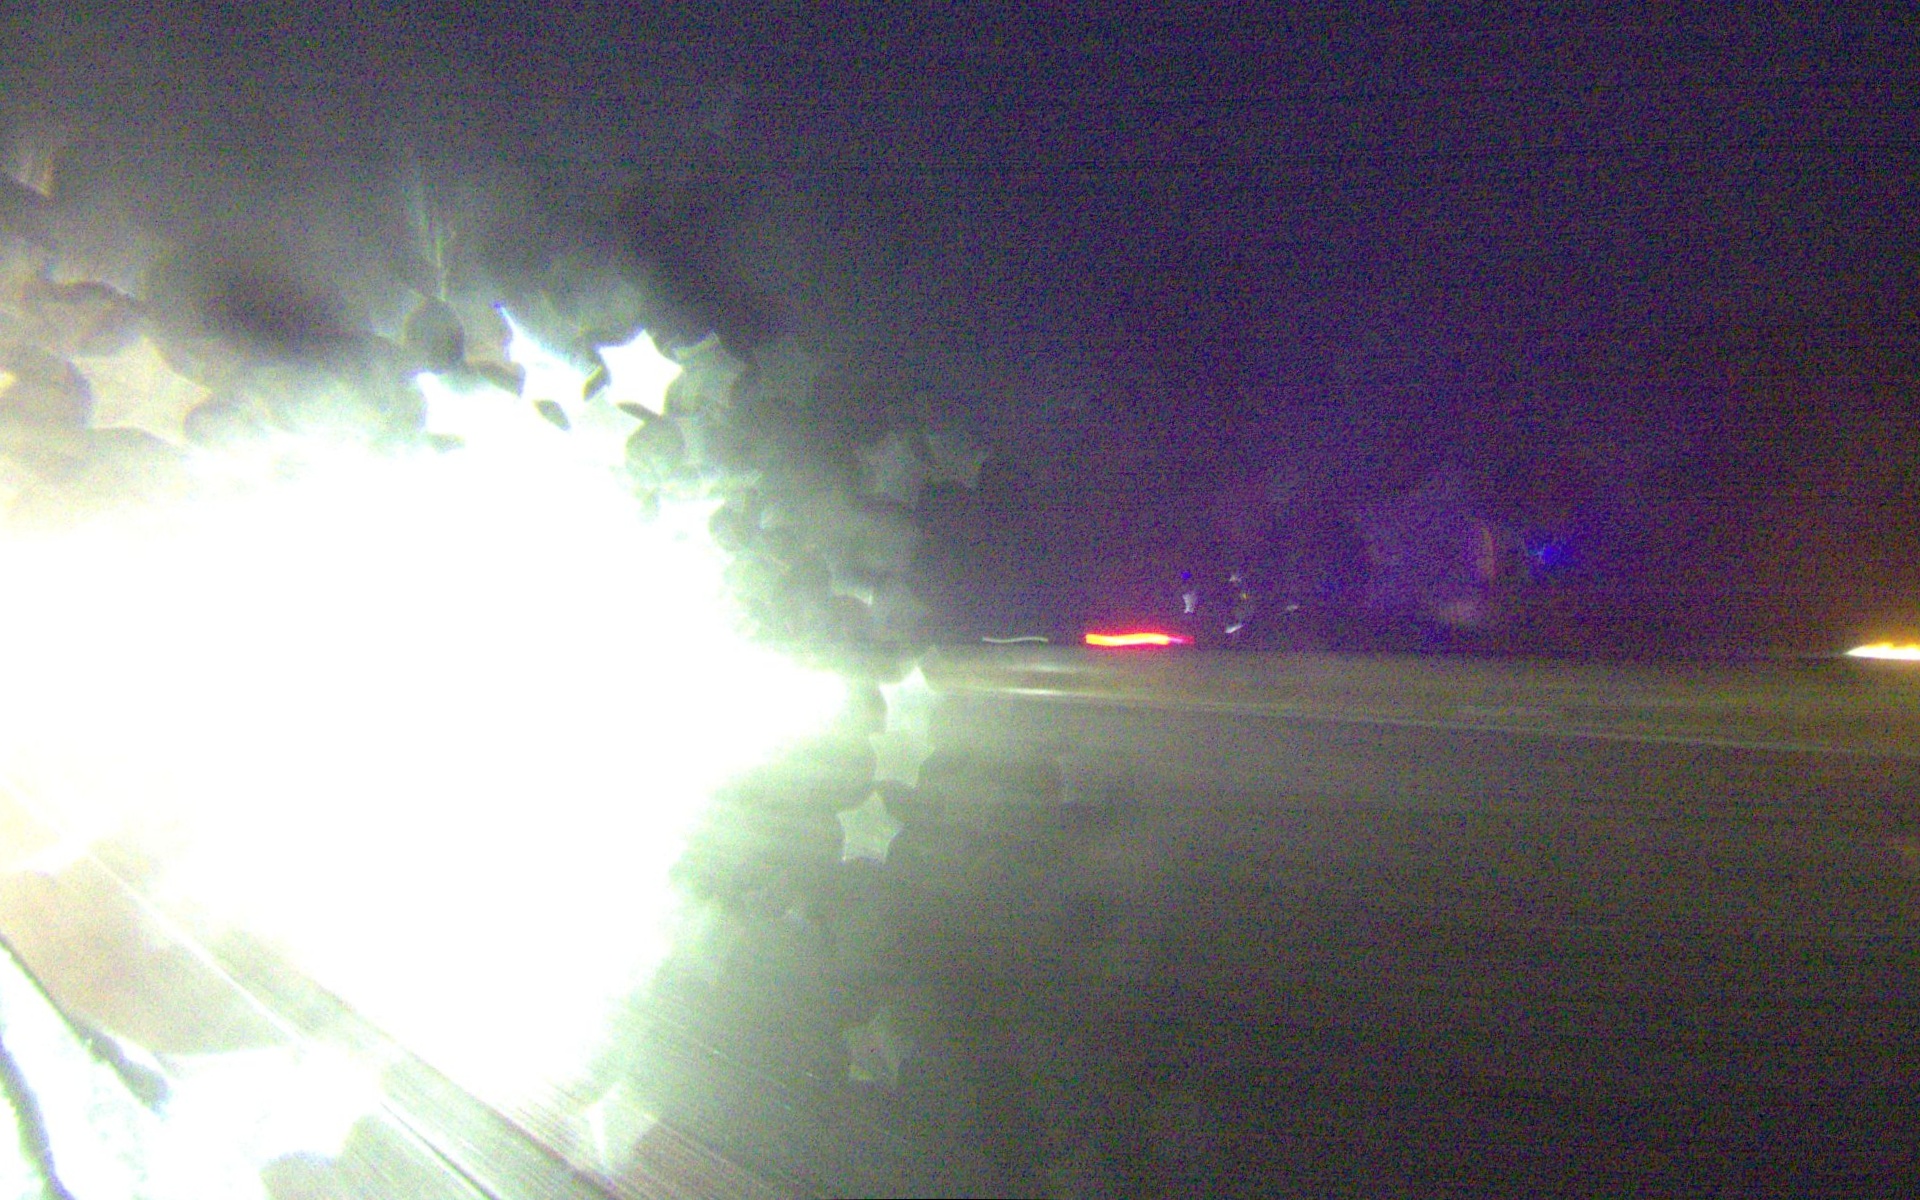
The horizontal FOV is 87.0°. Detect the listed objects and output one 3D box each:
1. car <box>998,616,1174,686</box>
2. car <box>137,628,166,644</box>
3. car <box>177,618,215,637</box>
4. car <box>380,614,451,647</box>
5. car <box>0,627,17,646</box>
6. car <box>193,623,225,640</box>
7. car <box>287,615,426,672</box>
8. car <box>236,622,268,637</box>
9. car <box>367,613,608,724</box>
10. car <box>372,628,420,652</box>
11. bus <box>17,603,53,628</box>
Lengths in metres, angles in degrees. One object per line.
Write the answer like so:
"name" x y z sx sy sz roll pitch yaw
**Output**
"car" 3.423 1.345 27.983 4.558 1.734 1.862 -1 0 39
"car" -99.631 4.424 124.719 4.558 1.734 1.862 -1 0 39
"car" -71.777 2.561 95.092 4.559 1.734 1.861 -1 0 40
"car" -30.600 1.699 56.842 4.558 1.734 1.862 -1 0 39
"car" -83.063 3.140 87.399 4.587 1.572 1.972 -1 0 42
"car" -79.626 3.324 107.249 4.562 1.734 1.860 -1 0 42
"car" -17.590 1.197 29.397 5.162 1.487 1.973 -1 0 41
"car" -76.905 3.188 109.875 3.892 1.444 1.861 -1 0 40
"car" -7.411 0.956 15.721 3.999 1.452 1.972 -1 0 42
"car" -44.695 3.130 80.134 4.559 1.734 1.861 -1 0 40
"bus" -171.478 2.884 187.524 16.538 4.482 3.335 -1 0 42
